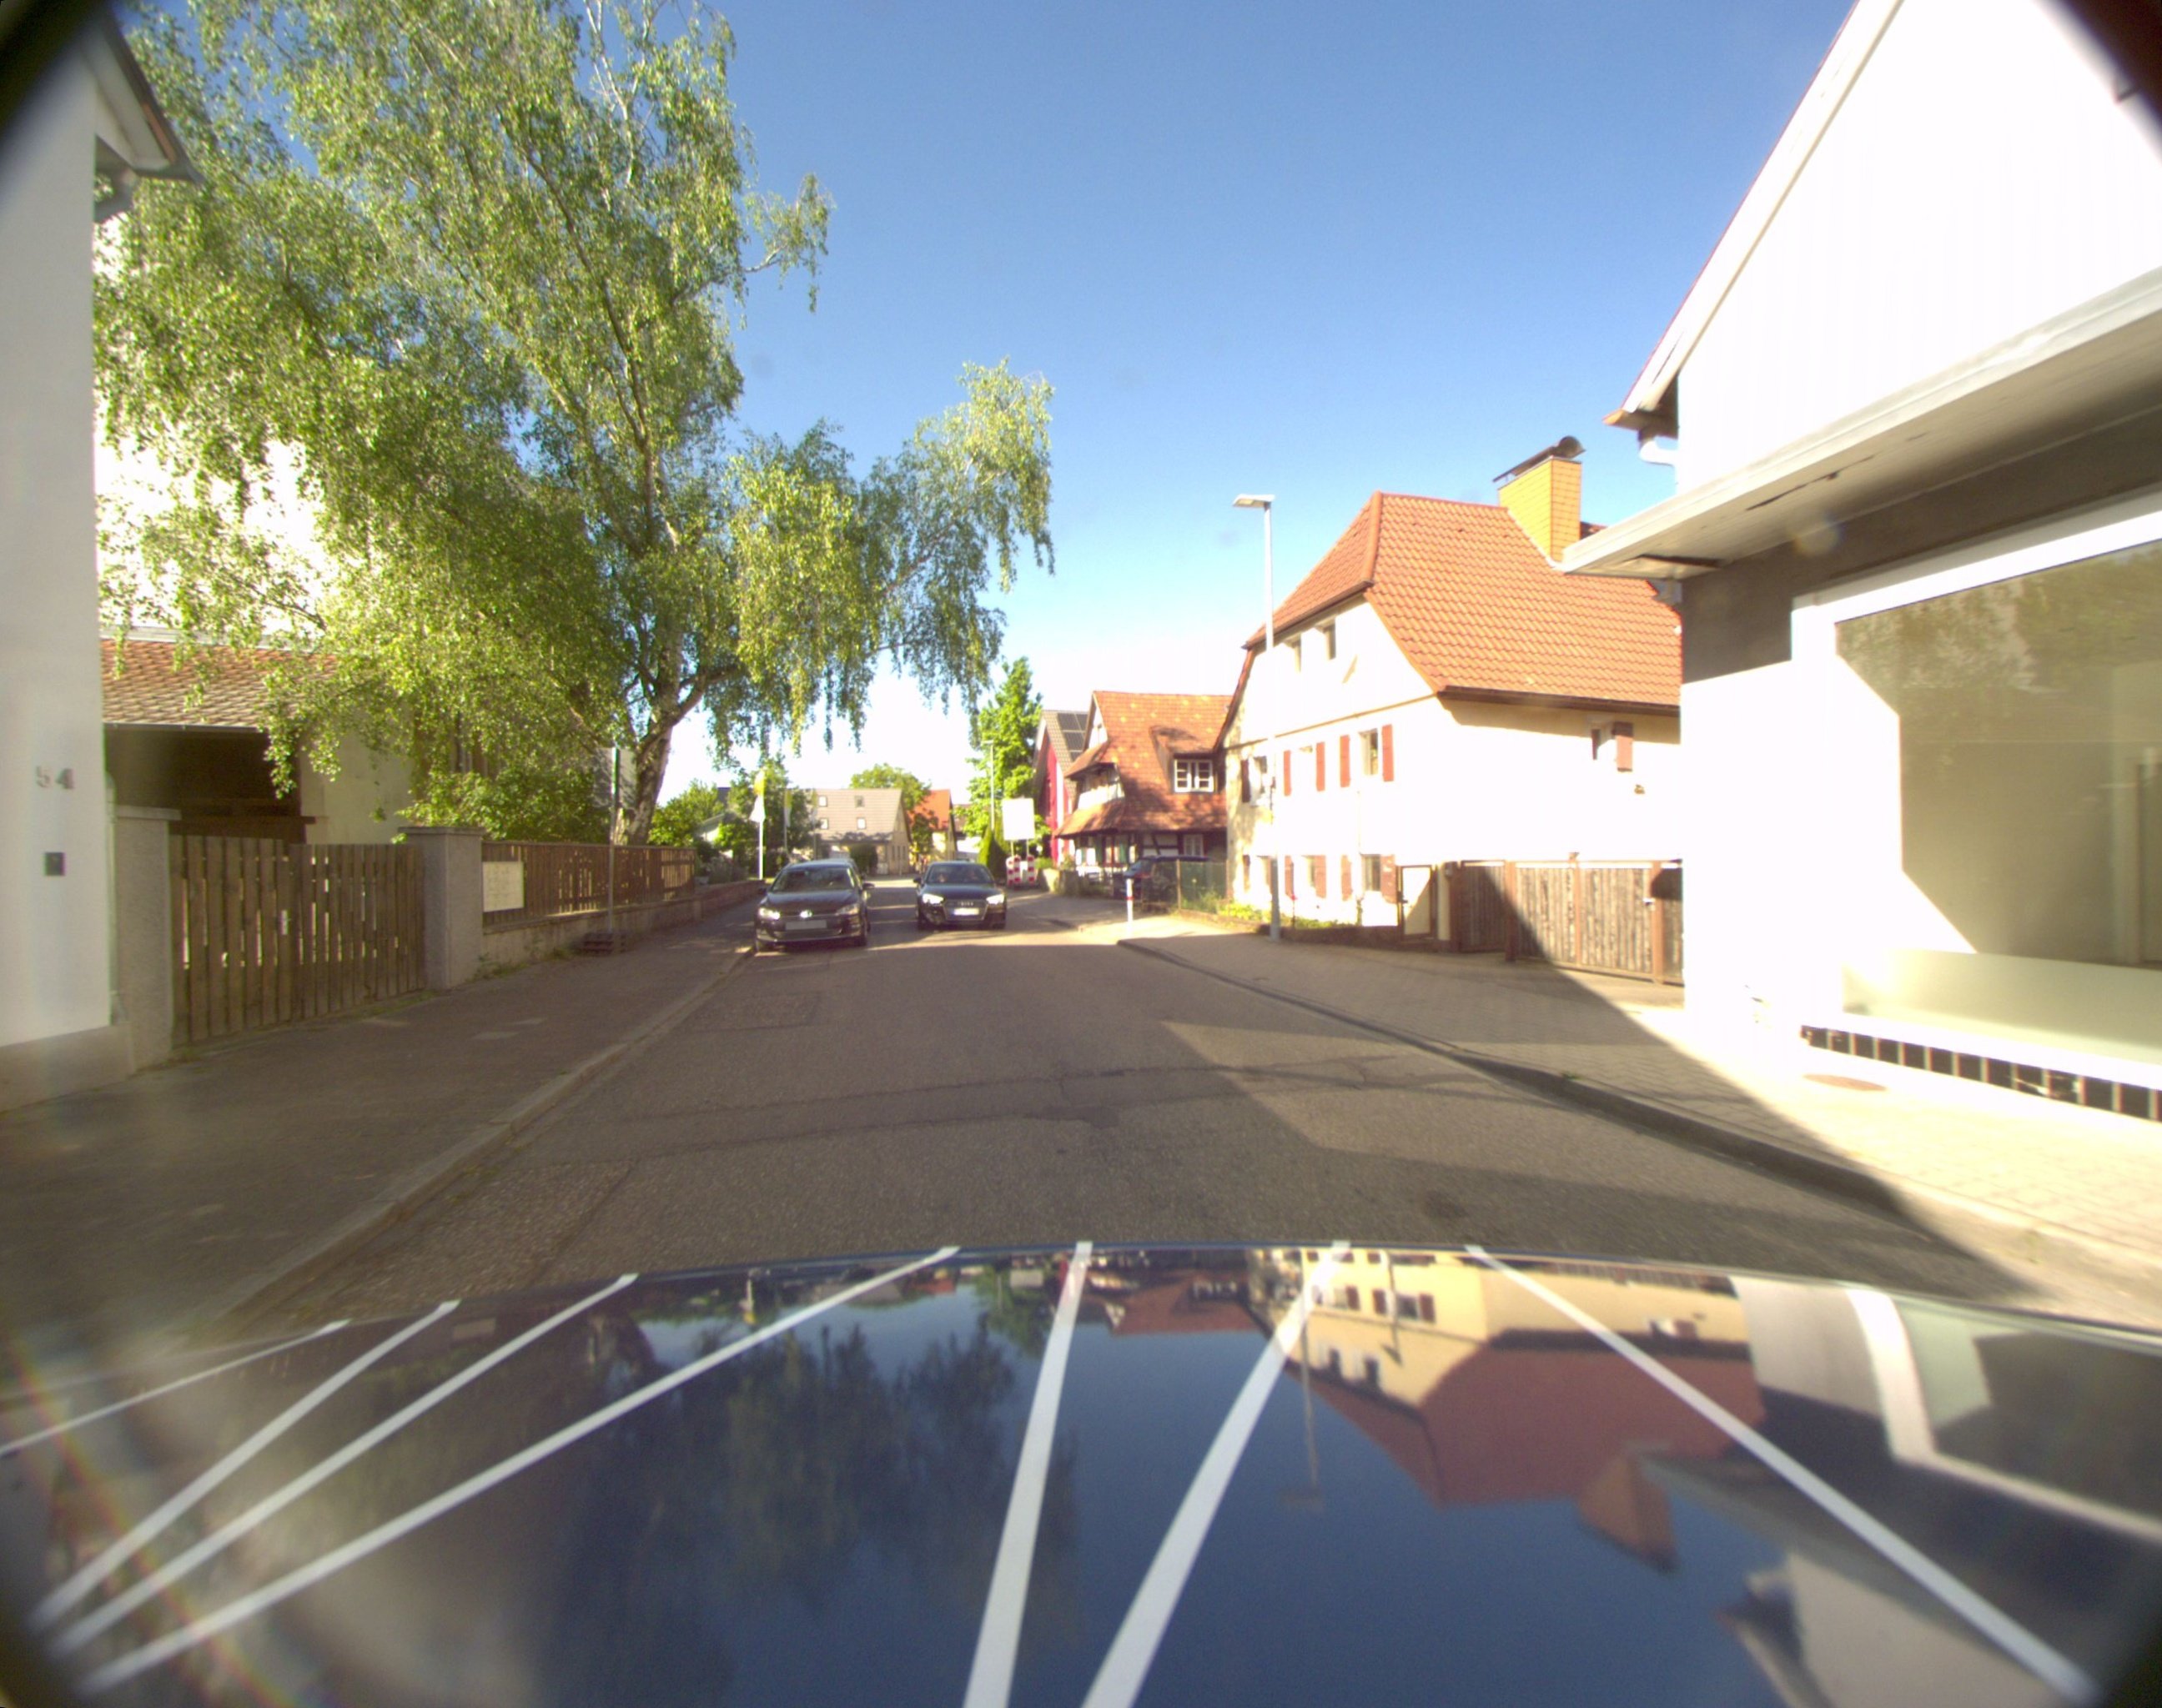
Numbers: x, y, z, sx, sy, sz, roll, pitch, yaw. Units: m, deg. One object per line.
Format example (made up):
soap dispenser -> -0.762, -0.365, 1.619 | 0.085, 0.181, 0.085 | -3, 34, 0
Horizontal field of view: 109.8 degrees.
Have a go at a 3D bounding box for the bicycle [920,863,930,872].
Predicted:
bicycle -> -14.179, 1.248, 68.961 | 0.582, 0.757, 1.799 | 1, 0, -3

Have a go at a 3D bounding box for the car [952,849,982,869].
car -> -9.997, 0.418, 67.005 | 1.837, 1.661, 4.352 | -2, 1, 1

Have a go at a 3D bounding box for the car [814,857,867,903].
car -> -8.657, 0.877, 27.405 | 1.654, 1.470, 3.927 | -2, 0, -17

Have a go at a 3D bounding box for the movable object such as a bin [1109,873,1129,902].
movable object such as a bin -> 1.210, 1.078, 24.364 | 0.585, 0.892, 0.555 | 2, 0, 5

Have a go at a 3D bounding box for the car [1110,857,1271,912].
car -> 3.127, 0.854, 21.869 | 4.176, 1.453, 1.845 | 1, 0, -20

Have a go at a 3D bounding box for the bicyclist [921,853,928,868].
bicyclist -> -14.194, 0.600, 68.955 | 0.582, 1.312, 0.608 | 1, 0, -3

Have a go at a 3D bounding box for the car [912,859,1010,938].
car -> -2.810, 0.878, 16.983 | 1.809, 1.469, 4.338 | -1, 0, -13

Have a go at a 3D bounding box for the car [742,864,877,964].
car -> -4.764, 0.946, 13.907 | 1.814, 1.427, 4.280 | -1, 0, -13

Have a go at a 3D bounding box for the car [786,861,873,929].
car -> -6.224, 0.916, 19.024 | 1.814, 1.427, 4.279 | -2, 0, -17

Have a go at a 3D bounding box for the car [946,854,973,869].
car -> -12.261, 0.733, 77.092 | 1.674, 1.394, 3.894 | -2, 0, 7
